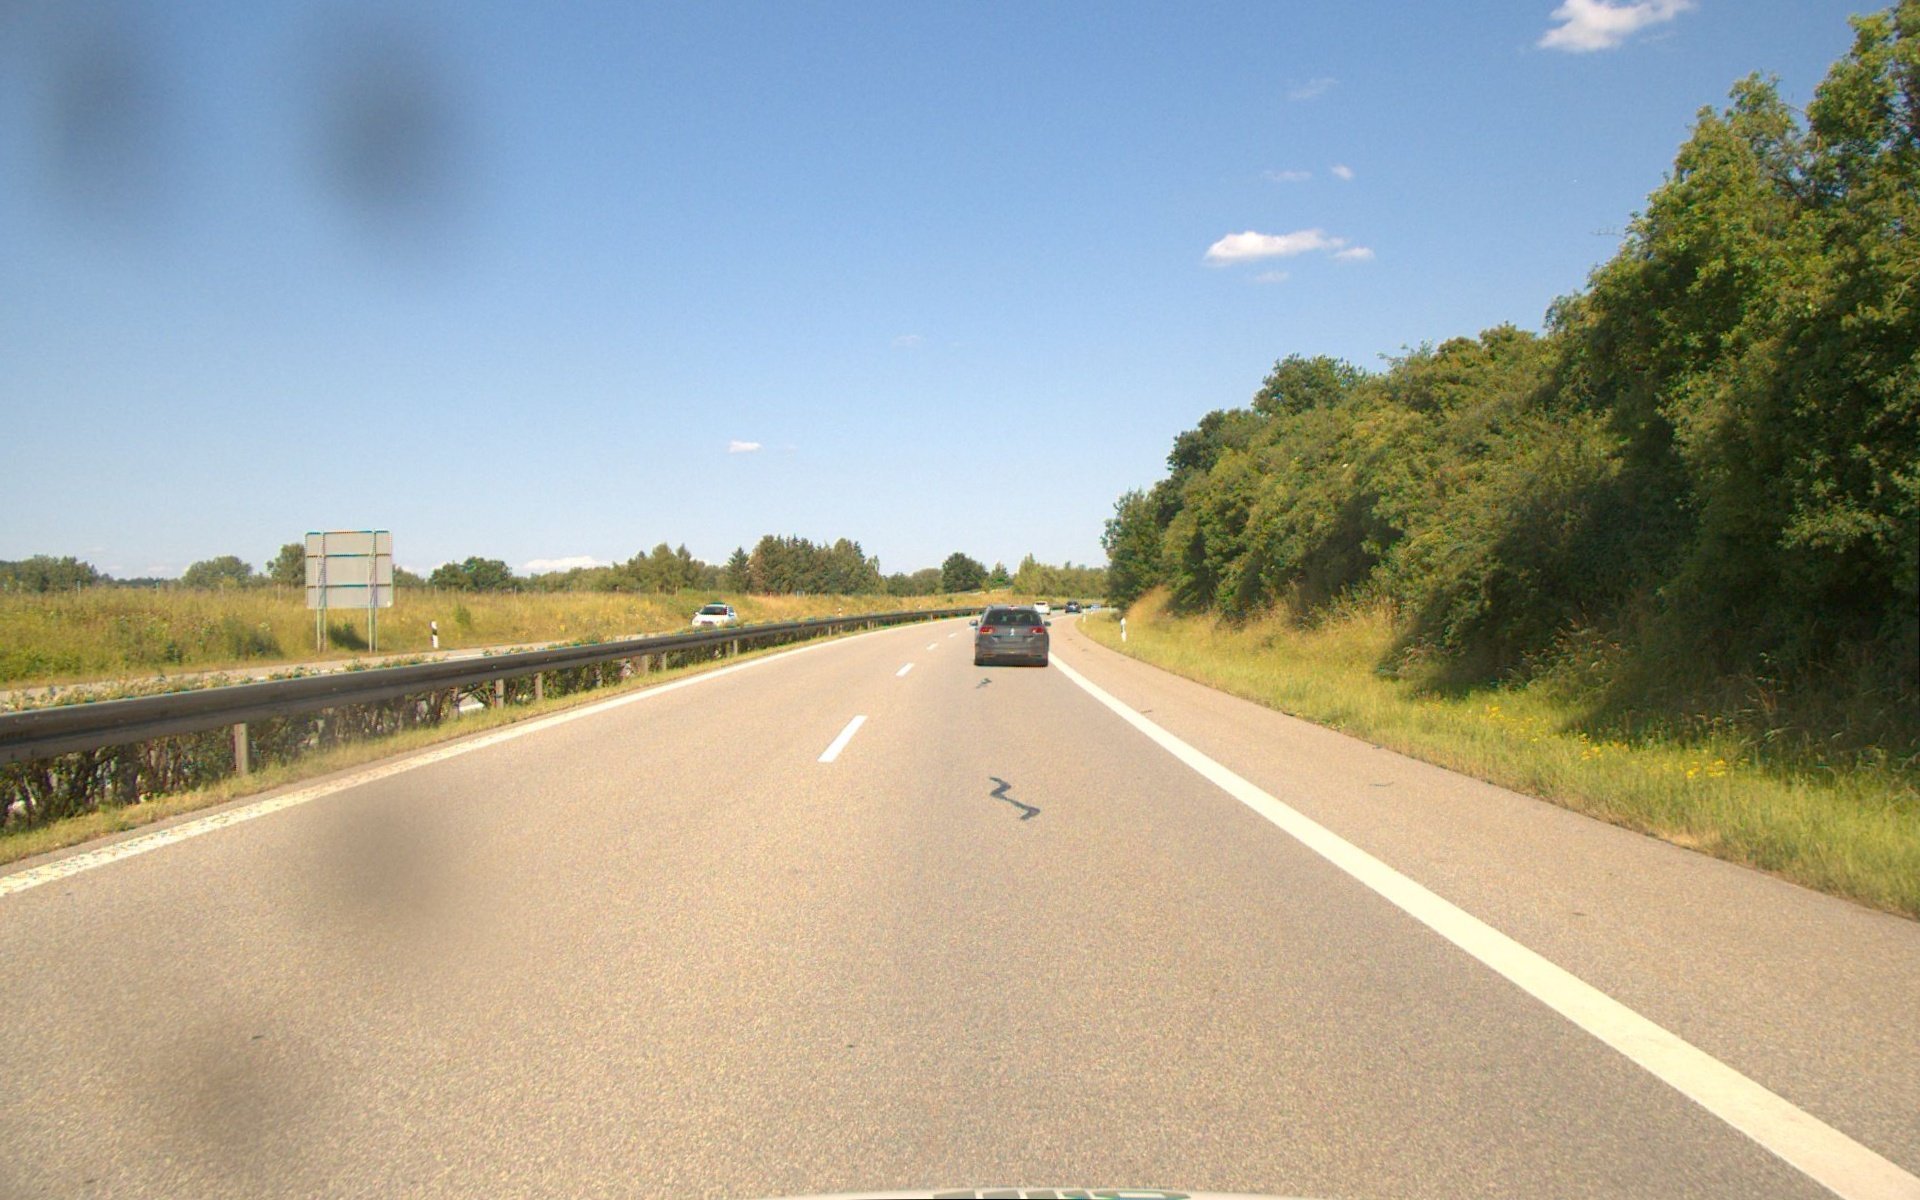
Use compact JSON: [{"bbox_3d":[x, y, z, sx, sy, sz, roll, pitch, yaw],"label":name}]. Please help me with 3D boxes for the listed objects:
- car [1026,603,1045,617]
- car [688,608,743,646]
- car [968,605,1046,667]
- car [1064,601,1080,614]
[{"bbox_3d":[8.052,1.110,176.205,1.965,1.368,4.001,1,-1,2],"label":"car"},{"bbox_3d":[-12.351,1.335,83.801,1.729,1.651,5.010,-4,0,2],"label":"car"},{"bbox_3d":[1.094,0.843,39.773,1.754,1.368,4.000,1,-1,1],"label":"car"},{"bbox_3d":[13.831,0.928,203.387,1.674,1.411,3.358,1,-1,9],"label":"car"}]
